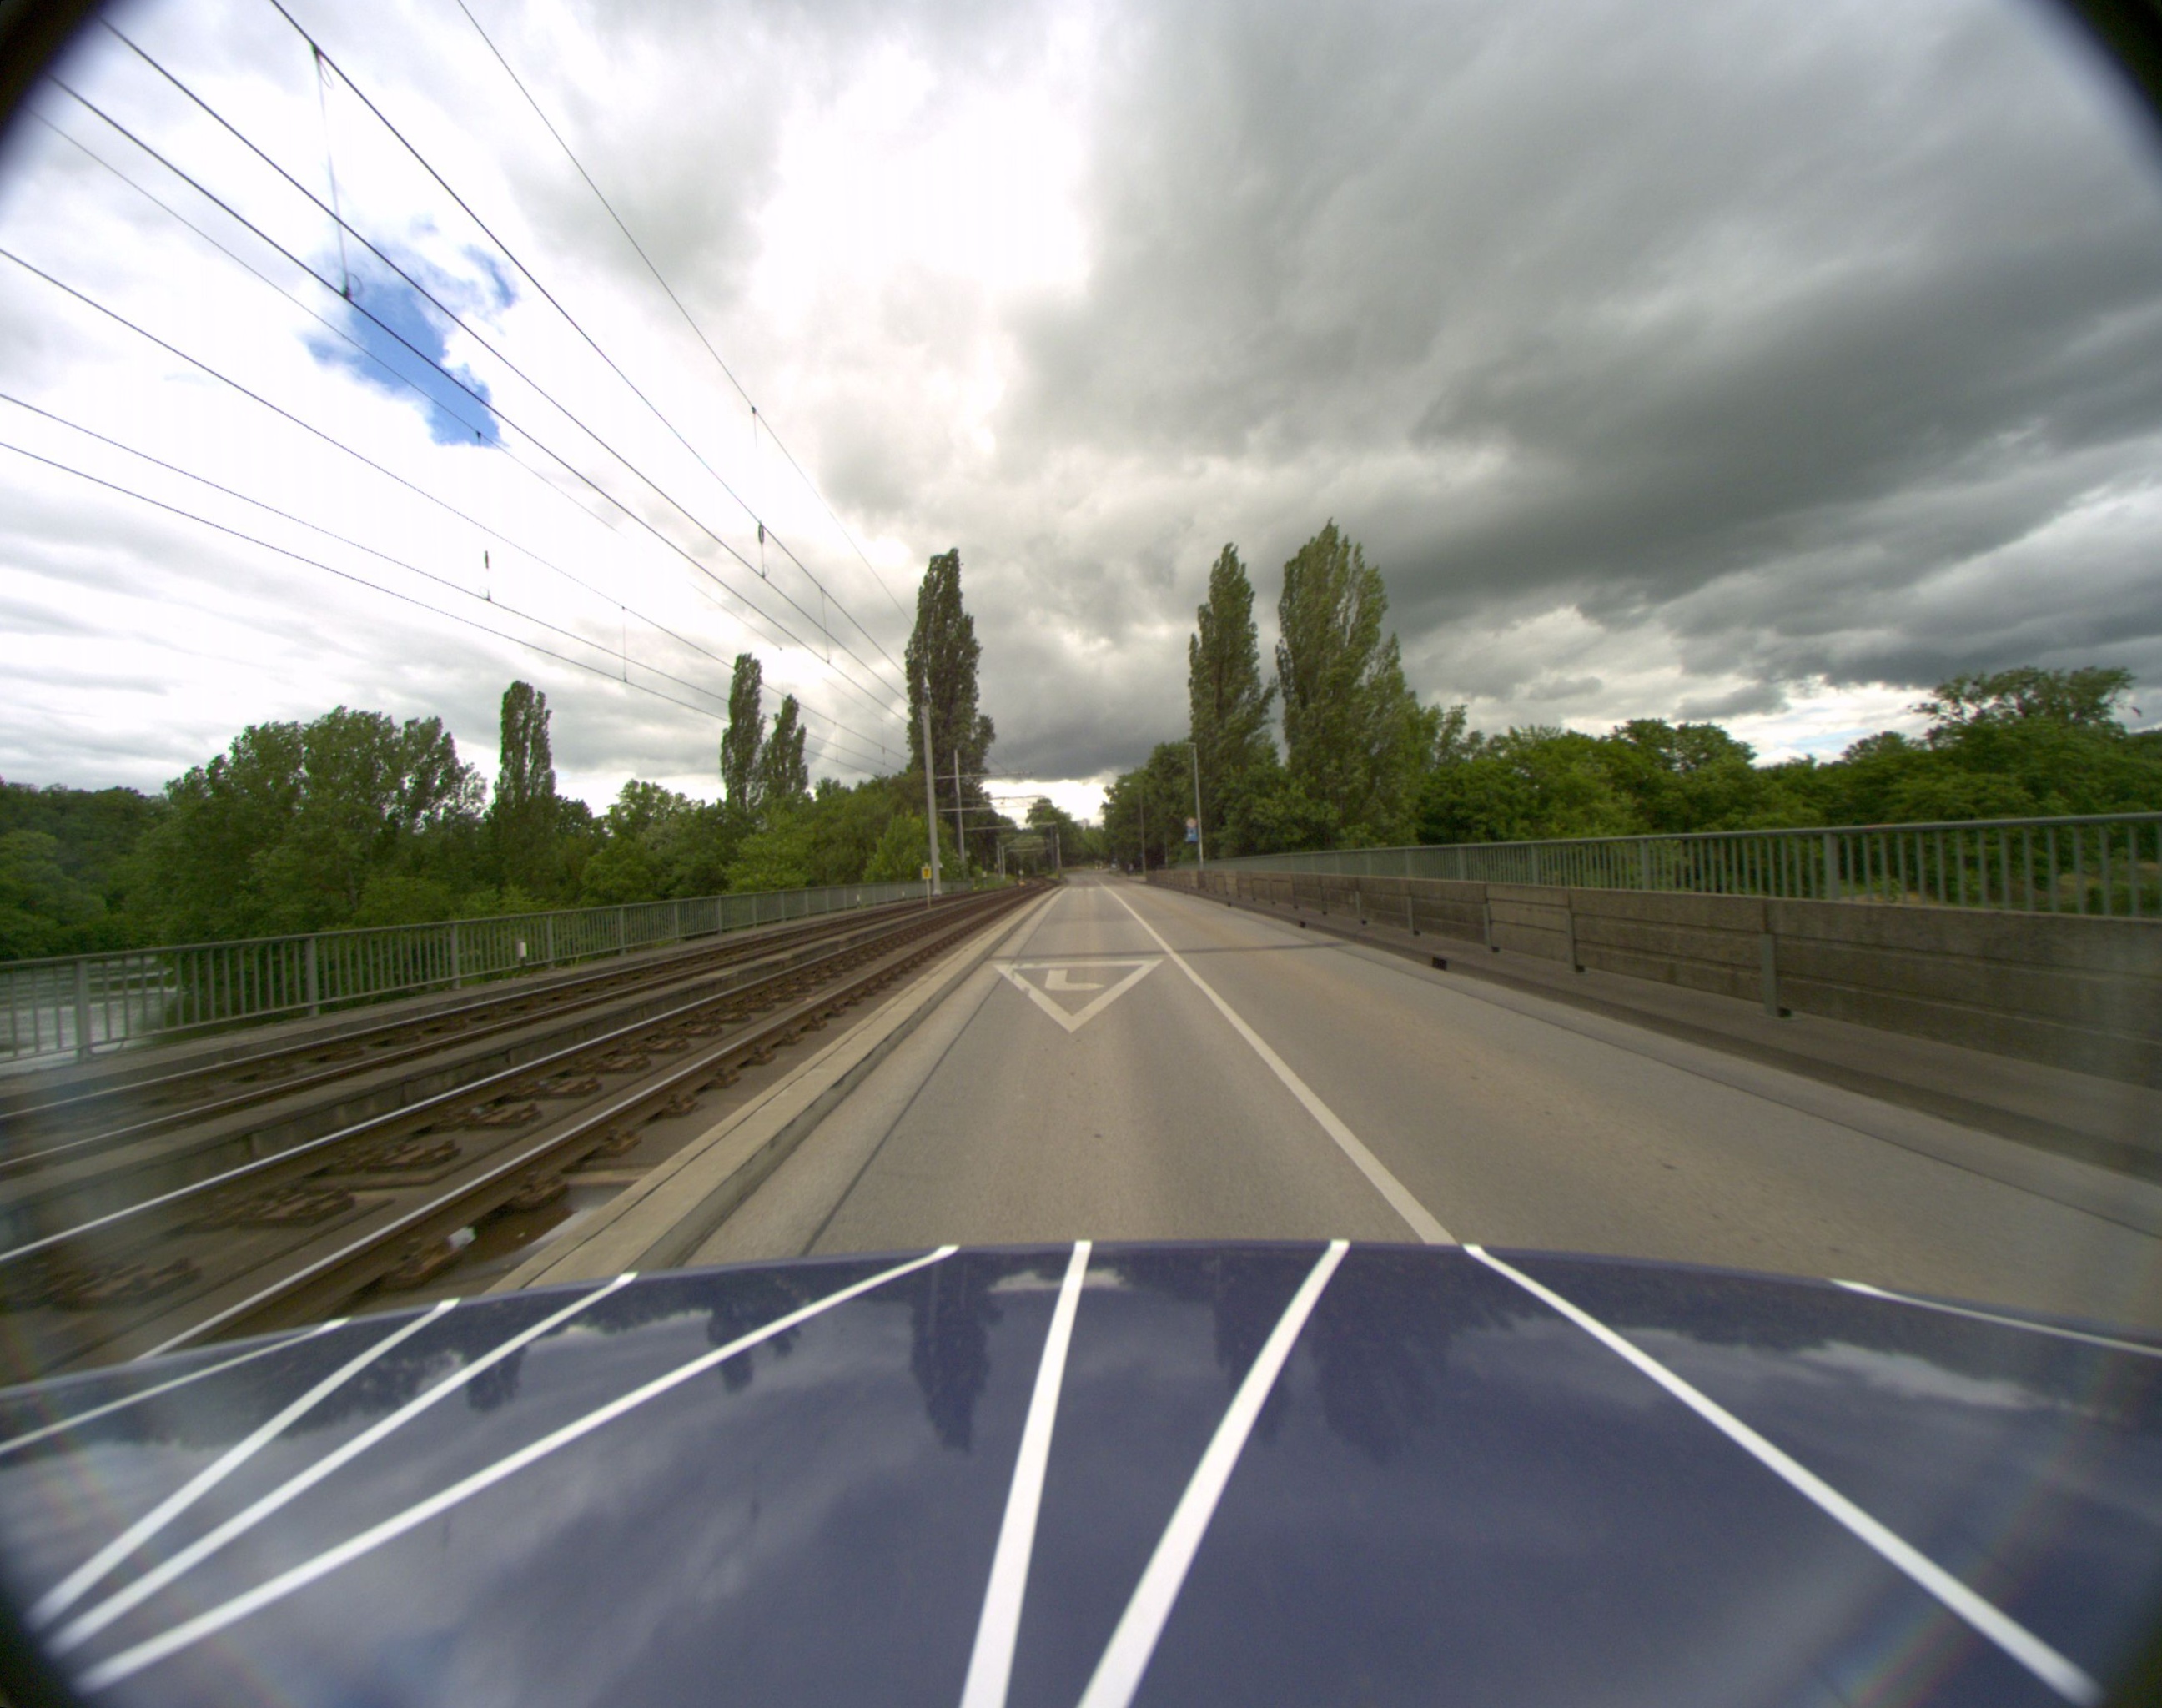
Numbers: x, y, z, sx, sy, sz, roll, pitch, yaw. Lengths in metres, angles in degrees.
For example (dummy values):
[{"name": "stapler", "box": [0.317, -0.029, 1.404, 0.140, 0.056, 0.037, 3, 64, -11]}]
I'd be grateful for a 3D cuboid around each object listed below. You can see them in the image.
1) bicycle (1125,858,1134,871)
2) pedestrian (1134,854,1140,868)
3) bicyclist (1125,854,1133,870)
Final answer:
[{"name": "bicycle", "box": [5.883, 1.275, 92.073, 0.700, 1.324, 2.279, -4, 3, -4]}, {"name": "pedestrian", "box": [7.342, 0.862, 99.300, 0.552, 1.755, 0.858, -7, 0, -1]}, {"name": "bicyclist", "box": [5.856, 0.960, 92.395, 0.688, 1.936, 0.835, -4, 0, -4]}]
